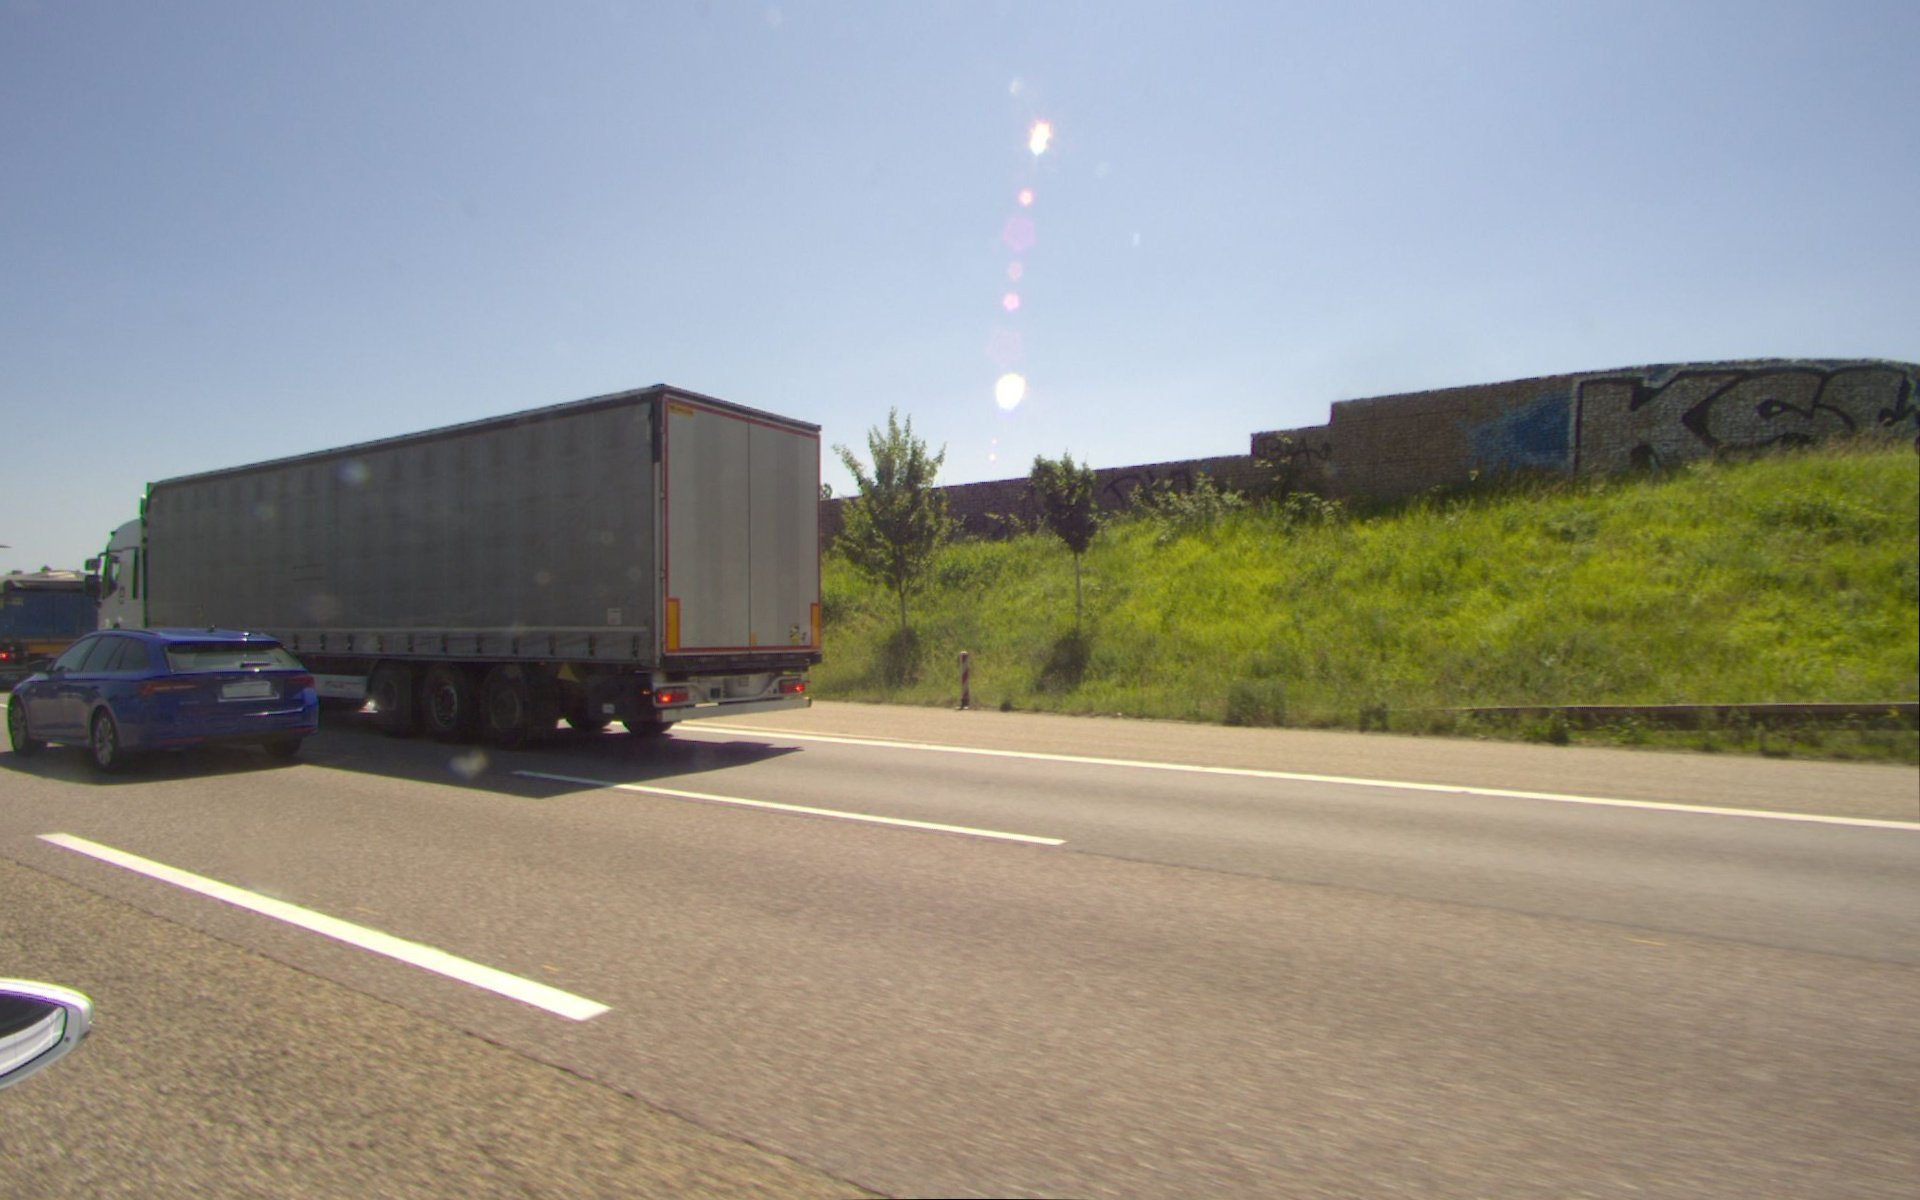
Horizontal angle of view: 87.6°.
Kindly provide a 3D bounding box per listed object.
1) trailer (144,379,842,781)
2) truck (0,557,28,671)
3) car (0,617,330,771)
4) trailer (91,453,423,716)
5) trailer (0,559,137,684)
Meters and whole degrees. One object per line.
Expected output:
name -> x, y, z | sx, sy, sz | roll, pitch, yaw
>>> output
trailer -> -7.954, -0.086, 15.194 | 13.559, 4.102, 2.956 | -1, -1, 33
truck -> -31.401, 0.426, 30.541 | 7.032, 3.354, 2.738 | -1, -2, 33
car -> -9.157, 0.967, 11.426 | 4.367, 1.459, 1.703 | -2, -2, 34
trailer -> -13.121, -0.190, 18.575 | 6.320, 4.096, 2.918 | 0, -1, 33
trailer -> -25.102, 0.584, 26.382 | 8.987, 2.873, 2.738 | -1, -2, 33
